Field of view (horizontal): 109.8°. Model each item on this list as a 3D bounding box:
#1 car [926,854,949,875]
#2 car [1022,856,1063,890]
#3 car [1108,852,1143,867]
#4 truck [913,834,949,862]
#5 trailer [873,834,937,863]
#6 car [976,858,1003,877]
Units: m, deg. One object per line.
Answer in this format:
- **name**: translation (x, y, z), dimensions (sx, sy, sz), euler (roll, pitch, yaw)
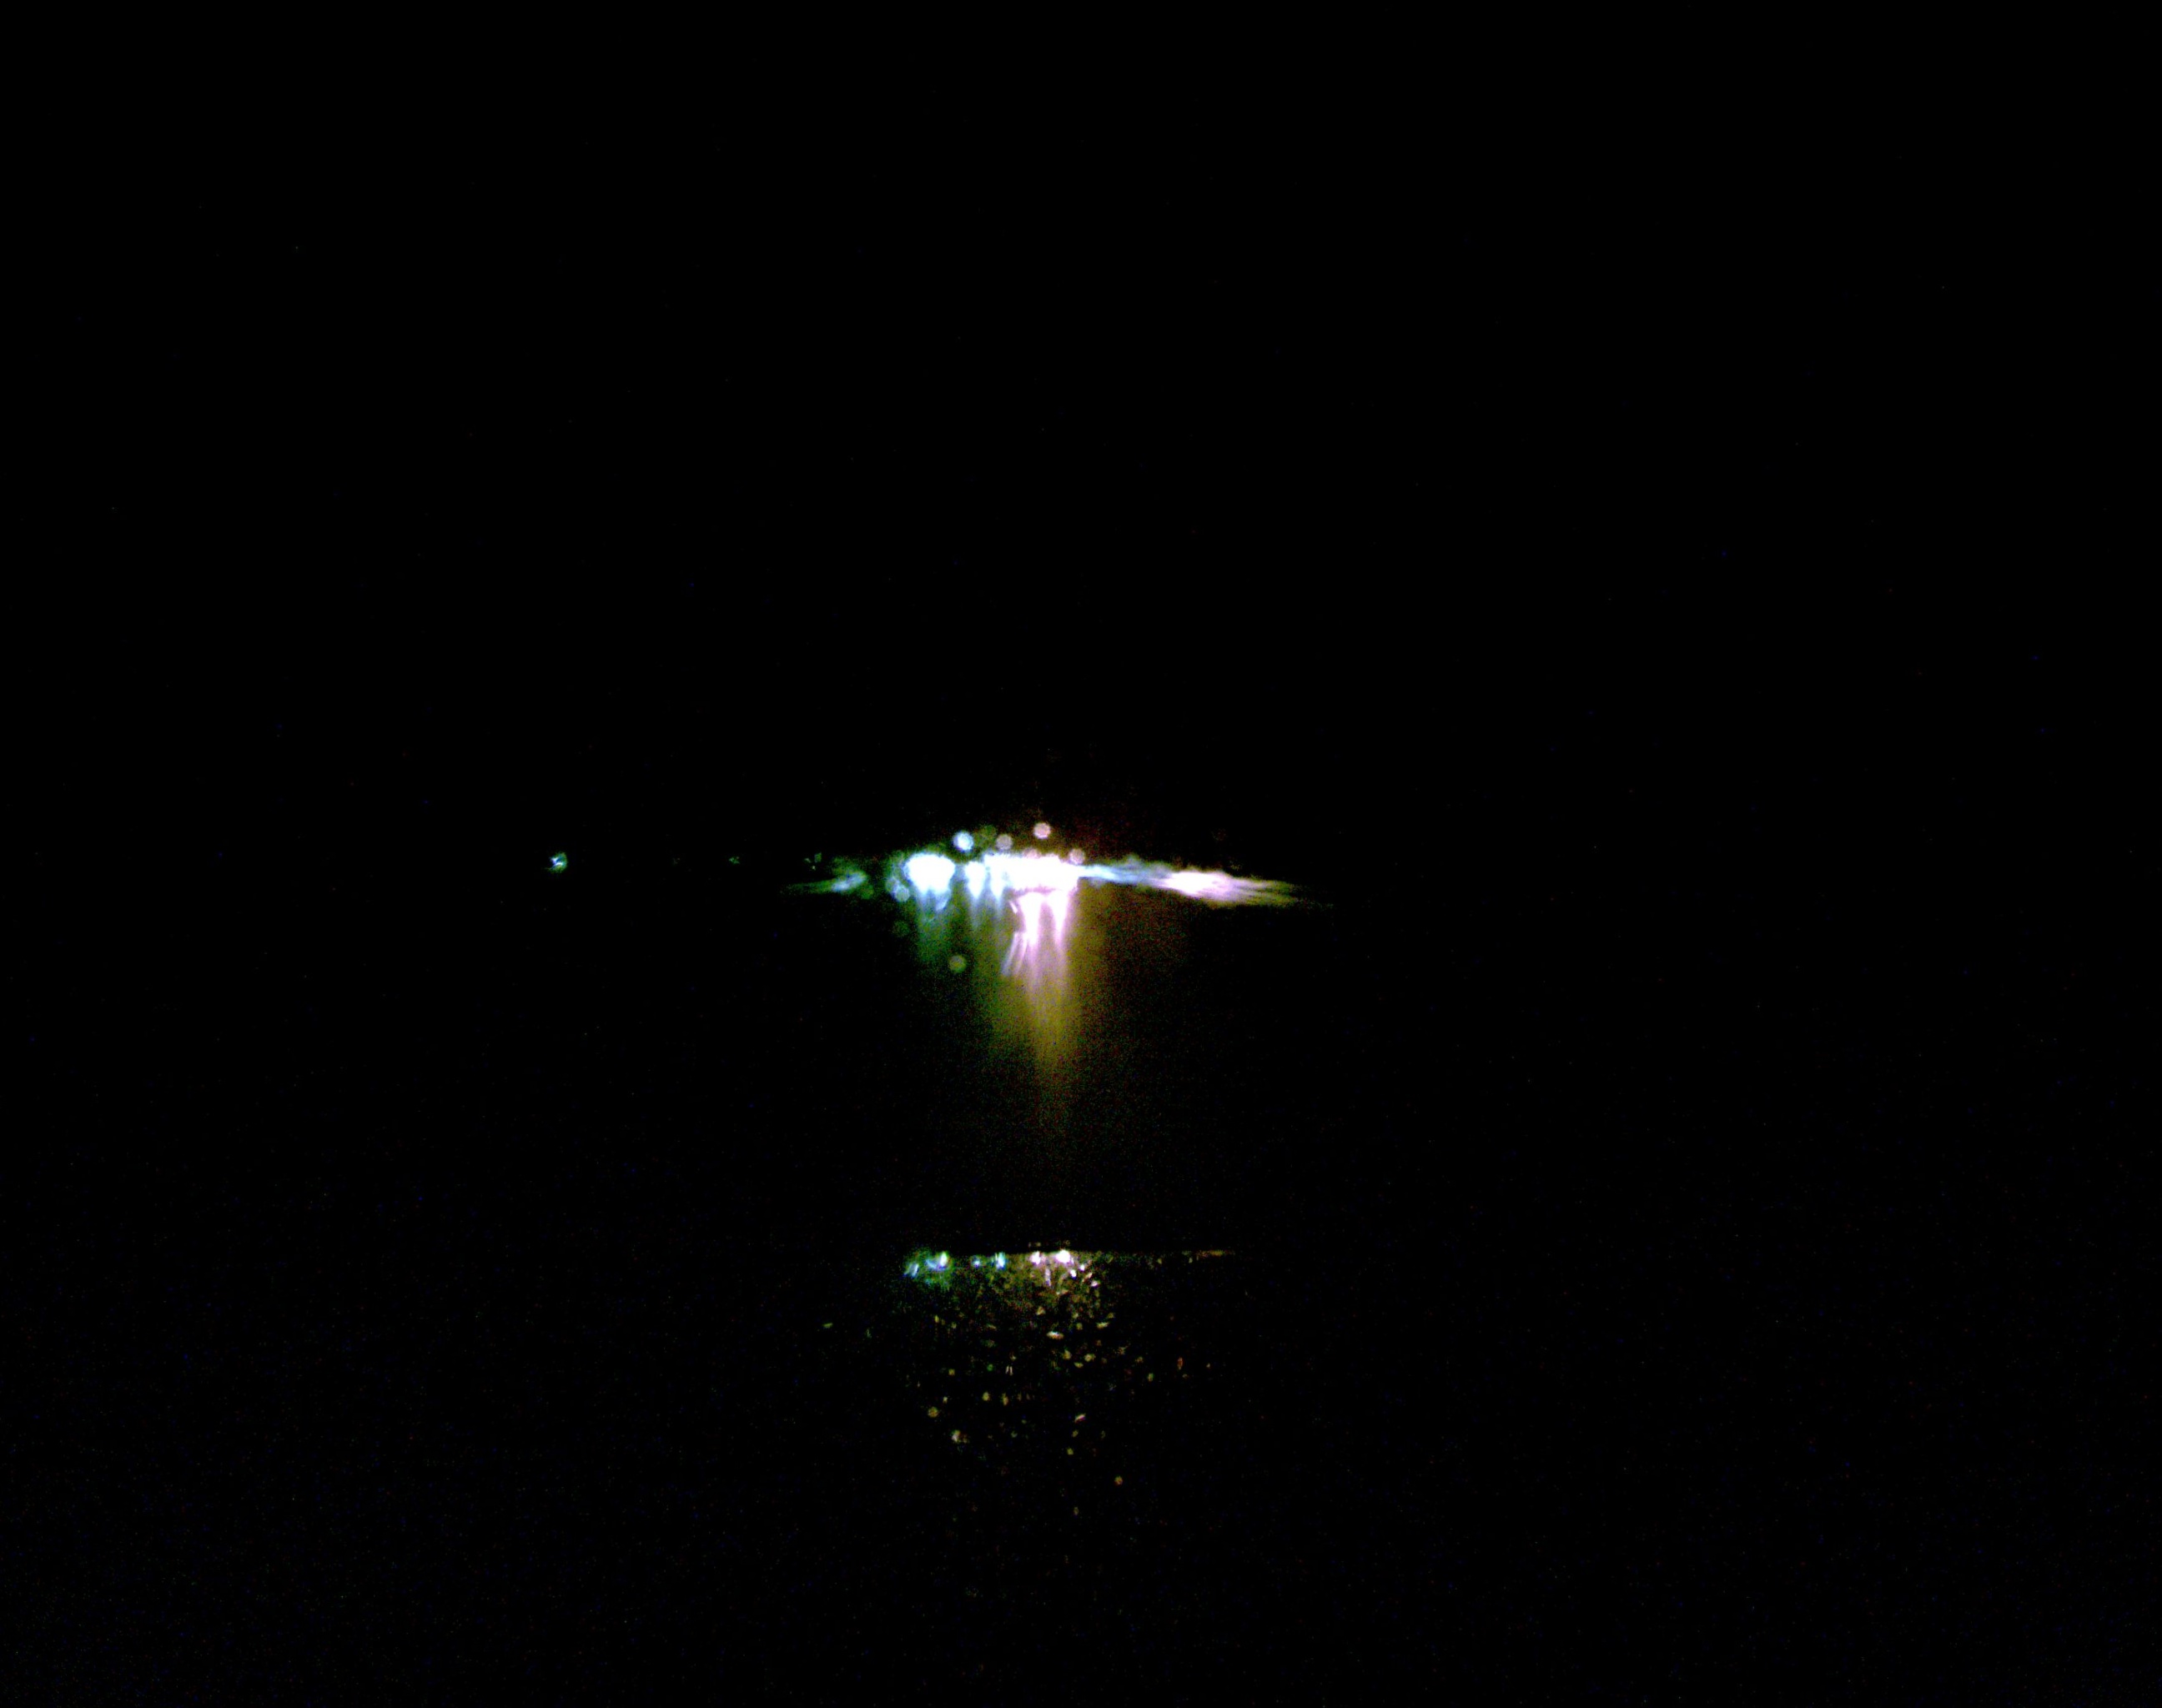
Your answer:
- **car**: translation (-12.087, 0.875, 64.001), dimensions (1.742, 1.674, 4.116), euler (-3, 0, -11)
- **car**: translation (-1.877, 0.848, 35.992), dimensions (1.688, 1.442, 3.640), euler (-2, 0, -7)
- **car**: translation (5.483, 0.675, 93.897), dimensions (4.042, 1.641, 1.793), euler (-2, 1, 42)
- **truck**: translation (-23.751, -0.918, 120.387), dimensions (5.548, 4.312, 2.545), euler (-1, 2, 41)
- **trailer**: translation (-29.102, -0.822, 125.020), dimensions (13.670, 4.312, 2.545), euler (-1, 2, 41)
- **car**: translation (-6.937, 0.979, 57.188), dimensions (1.761, 1.304, 4.081), euler (-3, 1, -10)
